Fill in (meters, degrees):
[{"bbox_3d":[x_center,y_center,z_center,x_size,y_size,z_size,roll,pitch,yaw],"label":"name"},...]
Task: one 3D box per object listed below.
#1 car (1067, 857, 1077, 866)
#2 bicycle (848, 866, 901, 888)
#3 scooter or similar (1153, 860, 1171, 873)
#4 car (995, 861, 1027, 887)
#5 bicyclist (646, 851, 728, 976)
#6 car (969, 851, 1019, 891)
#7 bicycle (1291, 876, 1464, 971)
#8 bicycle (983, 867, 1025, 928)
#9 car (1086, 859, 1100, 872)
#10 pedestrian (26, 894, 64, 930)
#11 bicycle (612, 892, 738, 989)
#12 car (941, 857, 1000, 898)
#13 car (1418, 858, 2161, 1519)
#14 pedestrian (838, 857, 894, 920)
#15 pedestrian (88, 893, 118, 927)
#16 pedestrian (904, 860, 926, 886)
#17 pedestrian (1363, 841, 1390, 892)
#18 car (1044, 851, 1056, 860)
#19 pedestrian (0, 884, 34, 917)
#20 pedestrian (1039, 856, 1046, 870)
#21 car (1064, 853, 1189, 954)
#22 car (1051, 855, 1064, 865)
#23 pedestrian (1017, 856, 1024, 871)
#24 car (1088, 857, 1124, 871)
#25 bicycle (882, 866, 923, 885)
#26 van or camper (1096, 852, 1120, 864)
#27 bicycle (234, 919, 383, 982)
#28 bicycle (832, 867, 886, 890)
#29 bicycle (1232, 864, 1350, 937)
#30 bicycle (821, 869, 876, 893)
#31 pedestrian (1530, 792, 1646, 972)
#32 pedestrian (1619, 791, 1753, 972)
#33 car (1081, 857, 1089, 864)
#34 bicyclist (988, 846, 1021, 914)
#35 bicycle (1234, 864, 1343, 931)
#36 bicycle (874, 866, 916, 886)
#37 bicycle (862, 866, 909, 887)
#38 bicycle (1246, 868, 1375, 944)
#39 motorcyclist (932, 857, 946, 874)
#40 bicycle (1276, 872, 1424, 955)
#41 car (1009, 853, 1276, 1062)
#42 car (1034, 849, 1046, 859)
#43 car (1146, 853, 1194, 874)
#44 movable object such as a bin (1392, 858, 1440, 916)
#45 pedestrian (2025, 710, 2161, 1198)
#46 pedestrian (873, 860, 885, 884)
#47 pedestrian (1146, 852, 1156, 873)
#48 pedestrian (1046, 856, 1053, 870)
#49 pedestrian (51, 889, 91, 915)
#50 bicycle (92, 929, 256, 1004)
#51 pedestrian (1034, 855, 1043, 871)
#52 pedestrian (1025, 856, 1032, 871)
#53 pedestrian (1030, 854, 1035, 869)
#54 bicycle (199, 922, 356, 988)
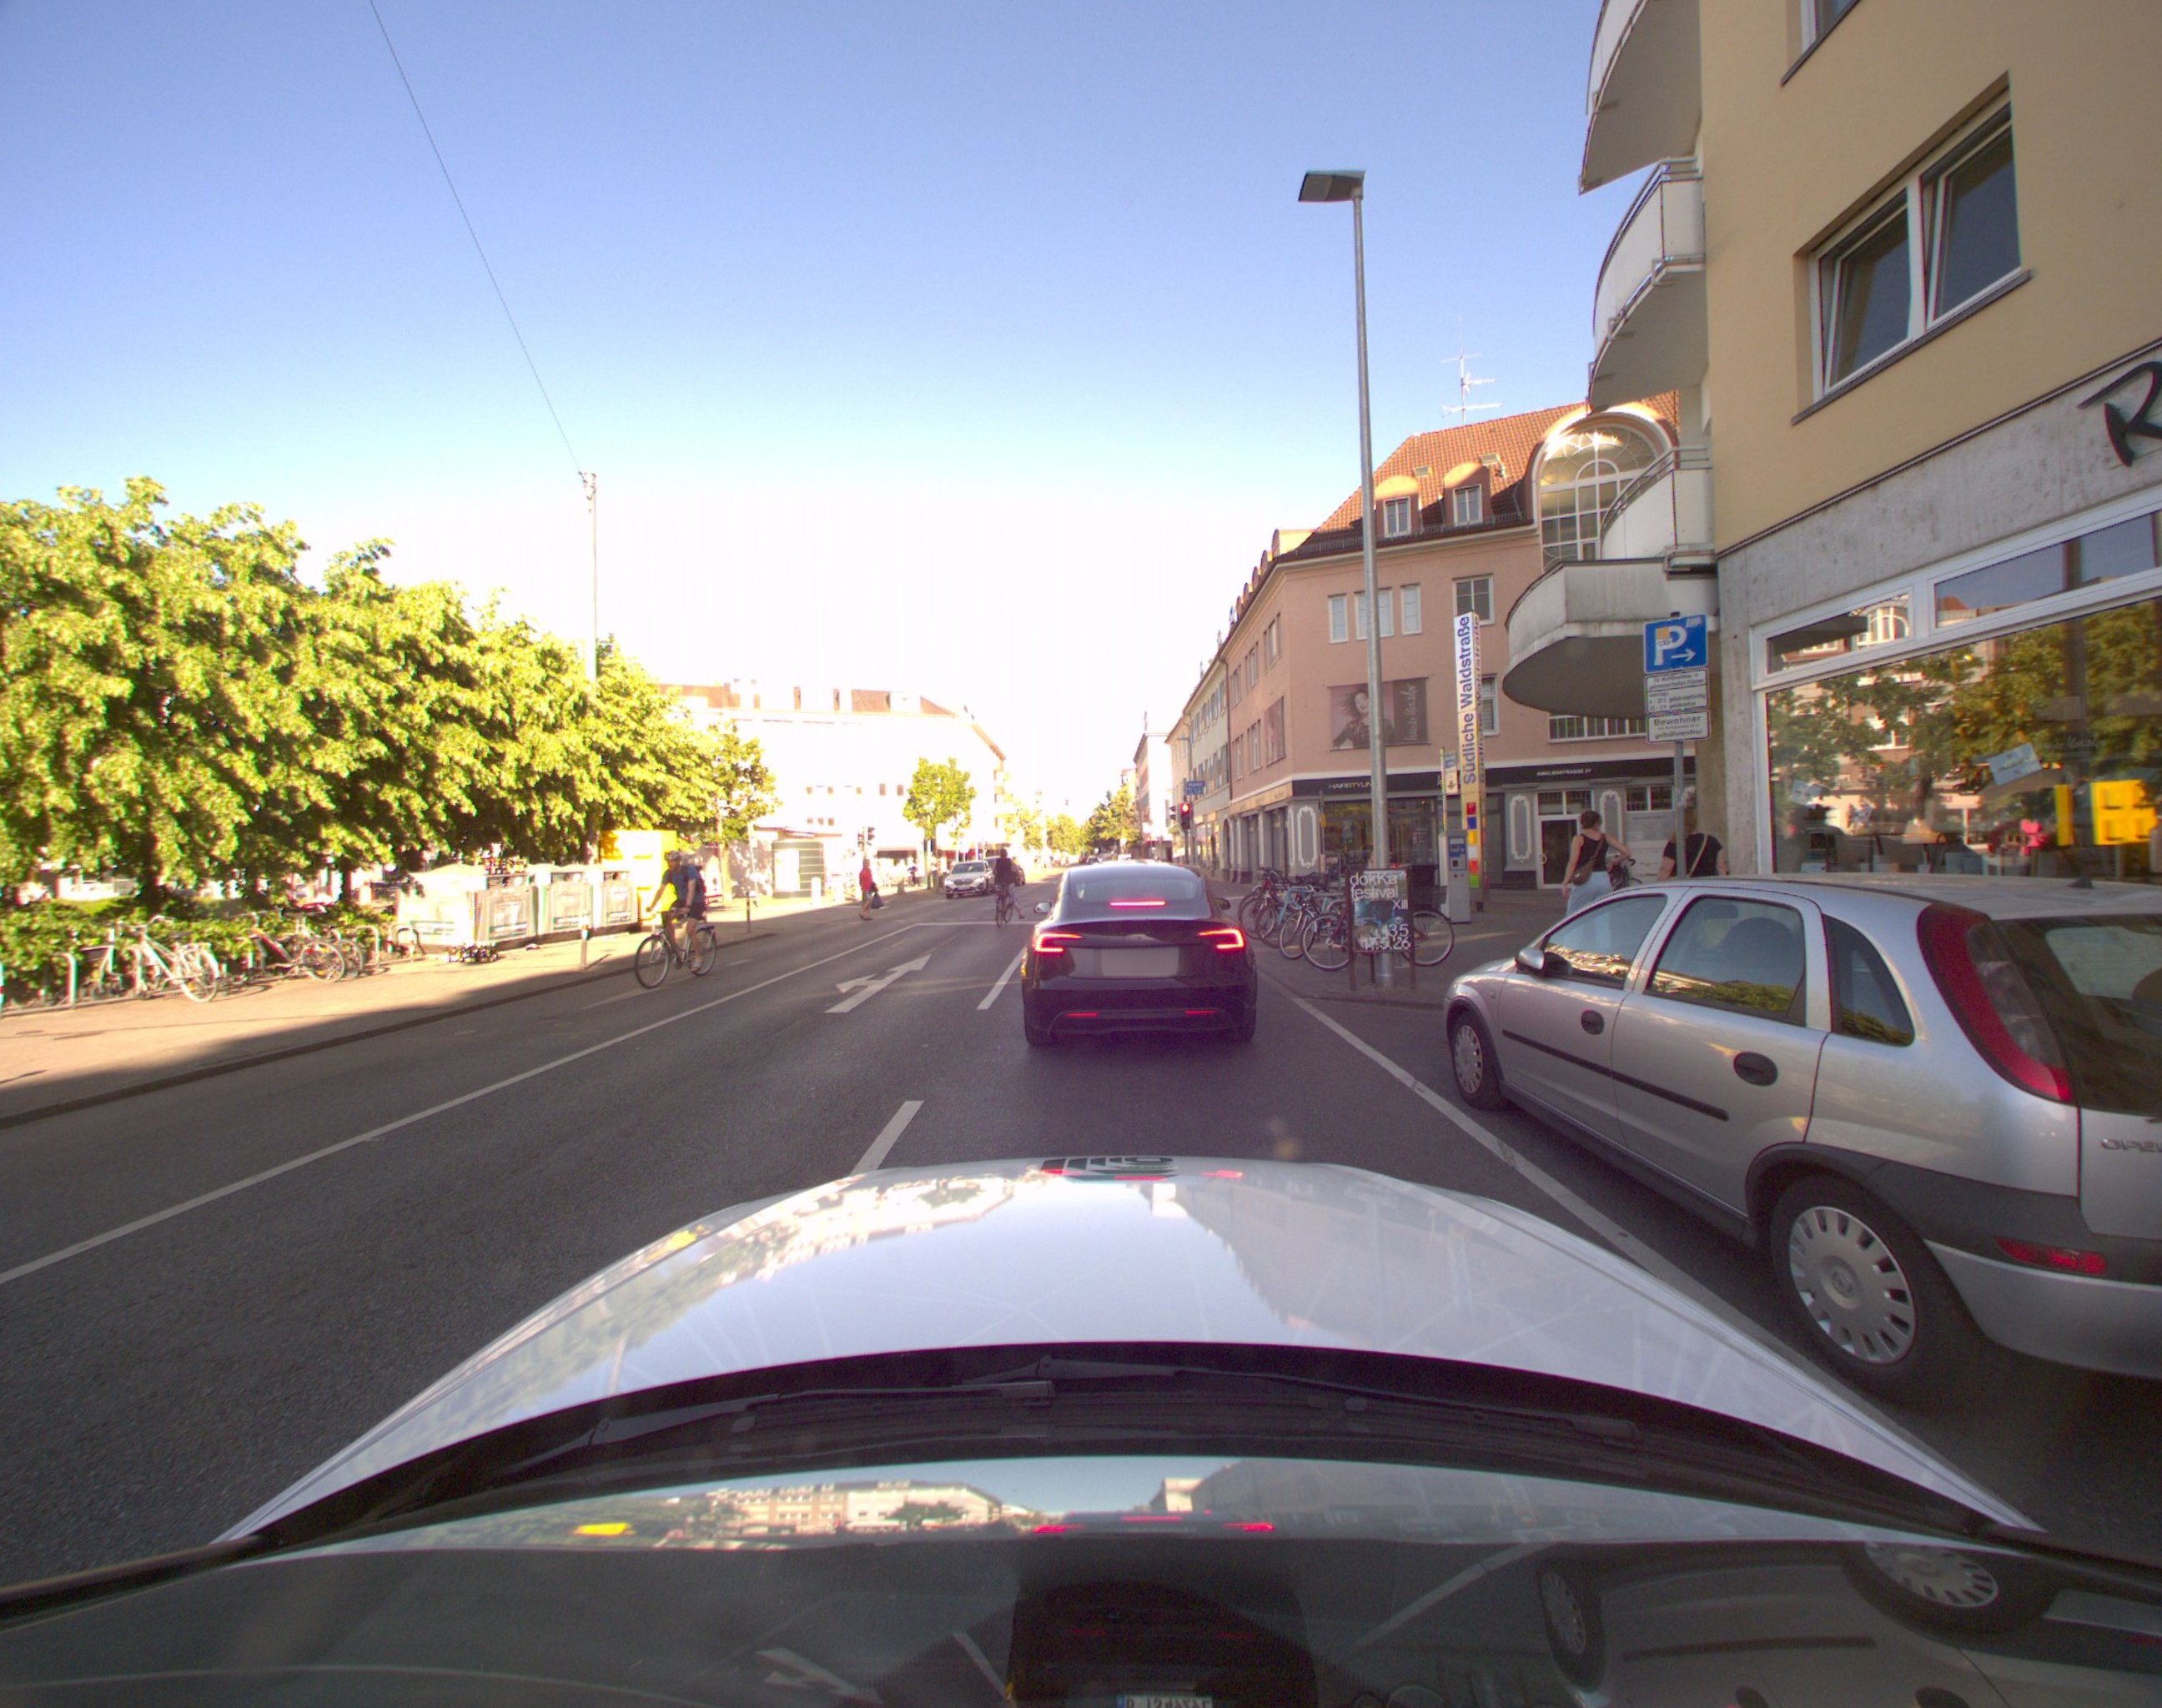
[{"bbox_3d":[-2.000,1.771,187.438,2.124,1.970,4.135,-1,0,2],"label":"car"},{"bbox_3d":[-12.157,1.361,47.993,2.867,1.270,0.942,0,-1,-1],"label":"bicycle"},{"bbox_3d":[6.939,1.047,69.891,1.339,1.134,0.804,0,-1,-23],"label":"scooter or similar"},{"bbox_3d":[-4.259,1.202,50.056,1.455,1.430,3.607,-5,-1,2],"label":"car"},{"bbox_3d":[-5.643,0.825,11.695,0.698,1.709,0.811,-2,-1,5],"label":"bicyclist"},{"bbox_3d":[-4.498,0.833,42.930,1.938,1.947,4.822,-1,0,2],"label":"car"},{"bbox_3d":[3.635,0.844,10.092,1.875,1.044,0.653,-2,0,3],"label":"bicycle"},{"bbox_3d":[-1.711,0.941,18.362,0.625,1.223,2.002,0,1,3],"label":"bicycle"},{"bbox_3d":[1.702,1.670,116.622,2.029,1.788,4.005,-1,0,0],"label":"car"},{"bbox_3d":[-47.075,2.621,37.020,0.928,1.520,0.924,0,-1,-43],"label":"pedestrian"},{"bbox_3d":[-5.691,1.170,11.563,0.613,1.162,1.960,-3,-1,4],"label":"bicycle"},{"bbox_3d":[-4.885,1.014,36.607,1.818,1.565,4.302,-5,-1,2],"label":"car"},{"bbox_3d":[2.959,0.737,3.556,1.578,1.426,3.581,0,-1,2],"label":"car"},{"bbox_3d":[-6.035,0.951,22.931,1.100,1.719,1.067,-1,-1,22],"label":"pedestrian"},{"bbox_3d":[-45.662,2.587,38.037,0.827,1.520,0.782,-1,-1,32],"label":"pedestrian"},{"bbox_3d":[-10.191,1.166,50.043,1.088,1.611,1.267,0,-1,1],"label":"pedestrian"},{"bbox_3d":[9.265,0.387,25.502,0.715,1.549,0.796,-1,-1,24],"label":"pedestrian"},{"bbox_3d":[-7.166,0.284,188.742,2.266,2.014,4.720,0,-1,3],"label":"car"},{"bbox_3d":[-62.237,2.713,47.490,1.088,1.842,1.309,-1,-1,32],"label":"pedestrian"},{"bbox_3d":[-5.249,1.233,111.782,0.696,1.868,0.904,0,-1,-17],"label":"pedestrian"},{"bbox_3d":[0.741,0.748,14.316,1.843,1.482,4.453,0,0,2],"label":"car"},{"bbox_3d":[-4.861,1.316,166.818,2.405,1.970,4.679,-1,0,2],"label":"car"},{"bbox_3d":[-7.210,1.131,97.301,0.734,1.868,0.787,0,-1,-15],"label":"pedestrian"},{"bbox_3d":[2.544,0.959,82.930,1.677,1.390,3.940,-1,-1,38],"label":"car"},{"bbox_3d":[-12.055,1.418,55.013,2.535,1.251,0.942,0,-1,-1],"label":"bicycle"},{"bbox_3d":[5.632,0.847,167.670,4.832,2.438,1.851,-1,0,1],"label":"van or camper"},{"bbox_3d":[-11.463,1.423,12.111,1.663,0.859,0.469,0,-1,-5],"label":"bicycle"},{"bbox_3d":[-12.395,1.368,45.597,2.772,1.274,0.933,0,-1,-2],"label":"bicycle"},{"bbox_3d":[3.495,0.774,13.652,1.806,1.152,0.653,-1,0,3],"label":"bicycle"},{"bbox_3d":[-12.327,1.436,43.254,2.652,1.195,0.942,0,-1,-1],"label":"bicycle"},{"bbox_3d":[5.583,0.300,9.027,0.677,1.849,0.896,-5,-1,9],"label":"pedestrian"},{"bbox_3d":[6.251,0.278,8.465,0.717,1.754,0.789,-4,-1,7],"label":"pedestrian"},{"bbox_3d":[1.084,1.612,206.873,1.886,1.813,3.925,0,-1,0],"label":"car"},{"bbox_3d":[-1.712,0.573,18.406,0.603,1.484,0.959,0,-1,3],"label":"bicyclist"},{"bbox_3d":[3.736,0.782,14.781,1.806,1.152,0.653,-1,0,3],"label":"bicycle"},{"bbox_3d":[-12.001,1.398,52.586,2.535,1.251,0.942,0,-1,-1],"label":"bicycle"},{"bbox_3d":[-12.056,1.384,50.311,2.655,1.259,0.942,0,-1,-1],"label":"bicycle"},{"bbox_3d":[3.517,0.790,12.576,1.806,1.102,0.653,-1,0,3],"label":"bicycle"},{"bbox_3d":[-13.491,1.094,77.436,1.114,1.633,0.770,0,-1,-24],"label":"motorcyclist"},{"bbox_3d":[3.655,0.796,11.165,1.806,1.060,0.653,-1,0,3],"label":"bicycle"},{"bbox_3d":[0.495,0.737,7.892,1.843,1.447,4.453,0,0,2],"label":"car"},{"bbox_3d":[-9.022,-0.019,180.147,2.266,2.014,4.720,0,-1,3],"label":"car"},{"bbox_3d":[8.144,0.870,74.659,4.006,1.867,1.686,-1,0,-20],"label":"car"},{"bbox_3d":[6.743,0.658,16.432,0.633,1.103,0.728,-4,-1,5],"label":"movable object such as a bin"},{"bbox_3d":[4.419,0.366,2.946,0.805,1.823,0.984,-2,-1,5],"label":"pedestrian"},{"bbox_3d":[-15.163,1.328,61.228,0.844,1.760,0.704,0,-1,-12],"label":"pedestrian"},{"bbox_3d":[5.978,0.741,69.493,0.660,1.760,0.649,0,-1,-22],"label":"pedestrian"},{"bbox_3d":[-4.156,1.195,108.035,0.775,1.868,1.004,0,-1,-13],"label":"pedestrian"},{"bbox_3d":[-48.976,2.300,39.502,0.859,1.214,0.903,-1,-1,10],"label":"pedestrian"},{"bbox_3d":[-11.463,1.416,10.315,1.560,0.886,0.470,0,-1,1],"label":"bicycle"},{"bbox_3d":[-4.984,1.095,94.902,0.726,1.868,0.796,-1,-1,30],"label":"pedestrian"},{"bbox_3d":[-6.312,1.126,97.498,0.734,1.868,0.787,0,-1,-15],"label":"pedestrian"},{"bbox_3d":[-6.218,0.973,104.234,0.693,1.868,0.658,0,-1,-3],"label":"pedestrian"},{"bbox_3d":[-11.428,1.422,11.612,1.667,0.859,0.469,0,-1,-5],"label":"bicycle"}]
